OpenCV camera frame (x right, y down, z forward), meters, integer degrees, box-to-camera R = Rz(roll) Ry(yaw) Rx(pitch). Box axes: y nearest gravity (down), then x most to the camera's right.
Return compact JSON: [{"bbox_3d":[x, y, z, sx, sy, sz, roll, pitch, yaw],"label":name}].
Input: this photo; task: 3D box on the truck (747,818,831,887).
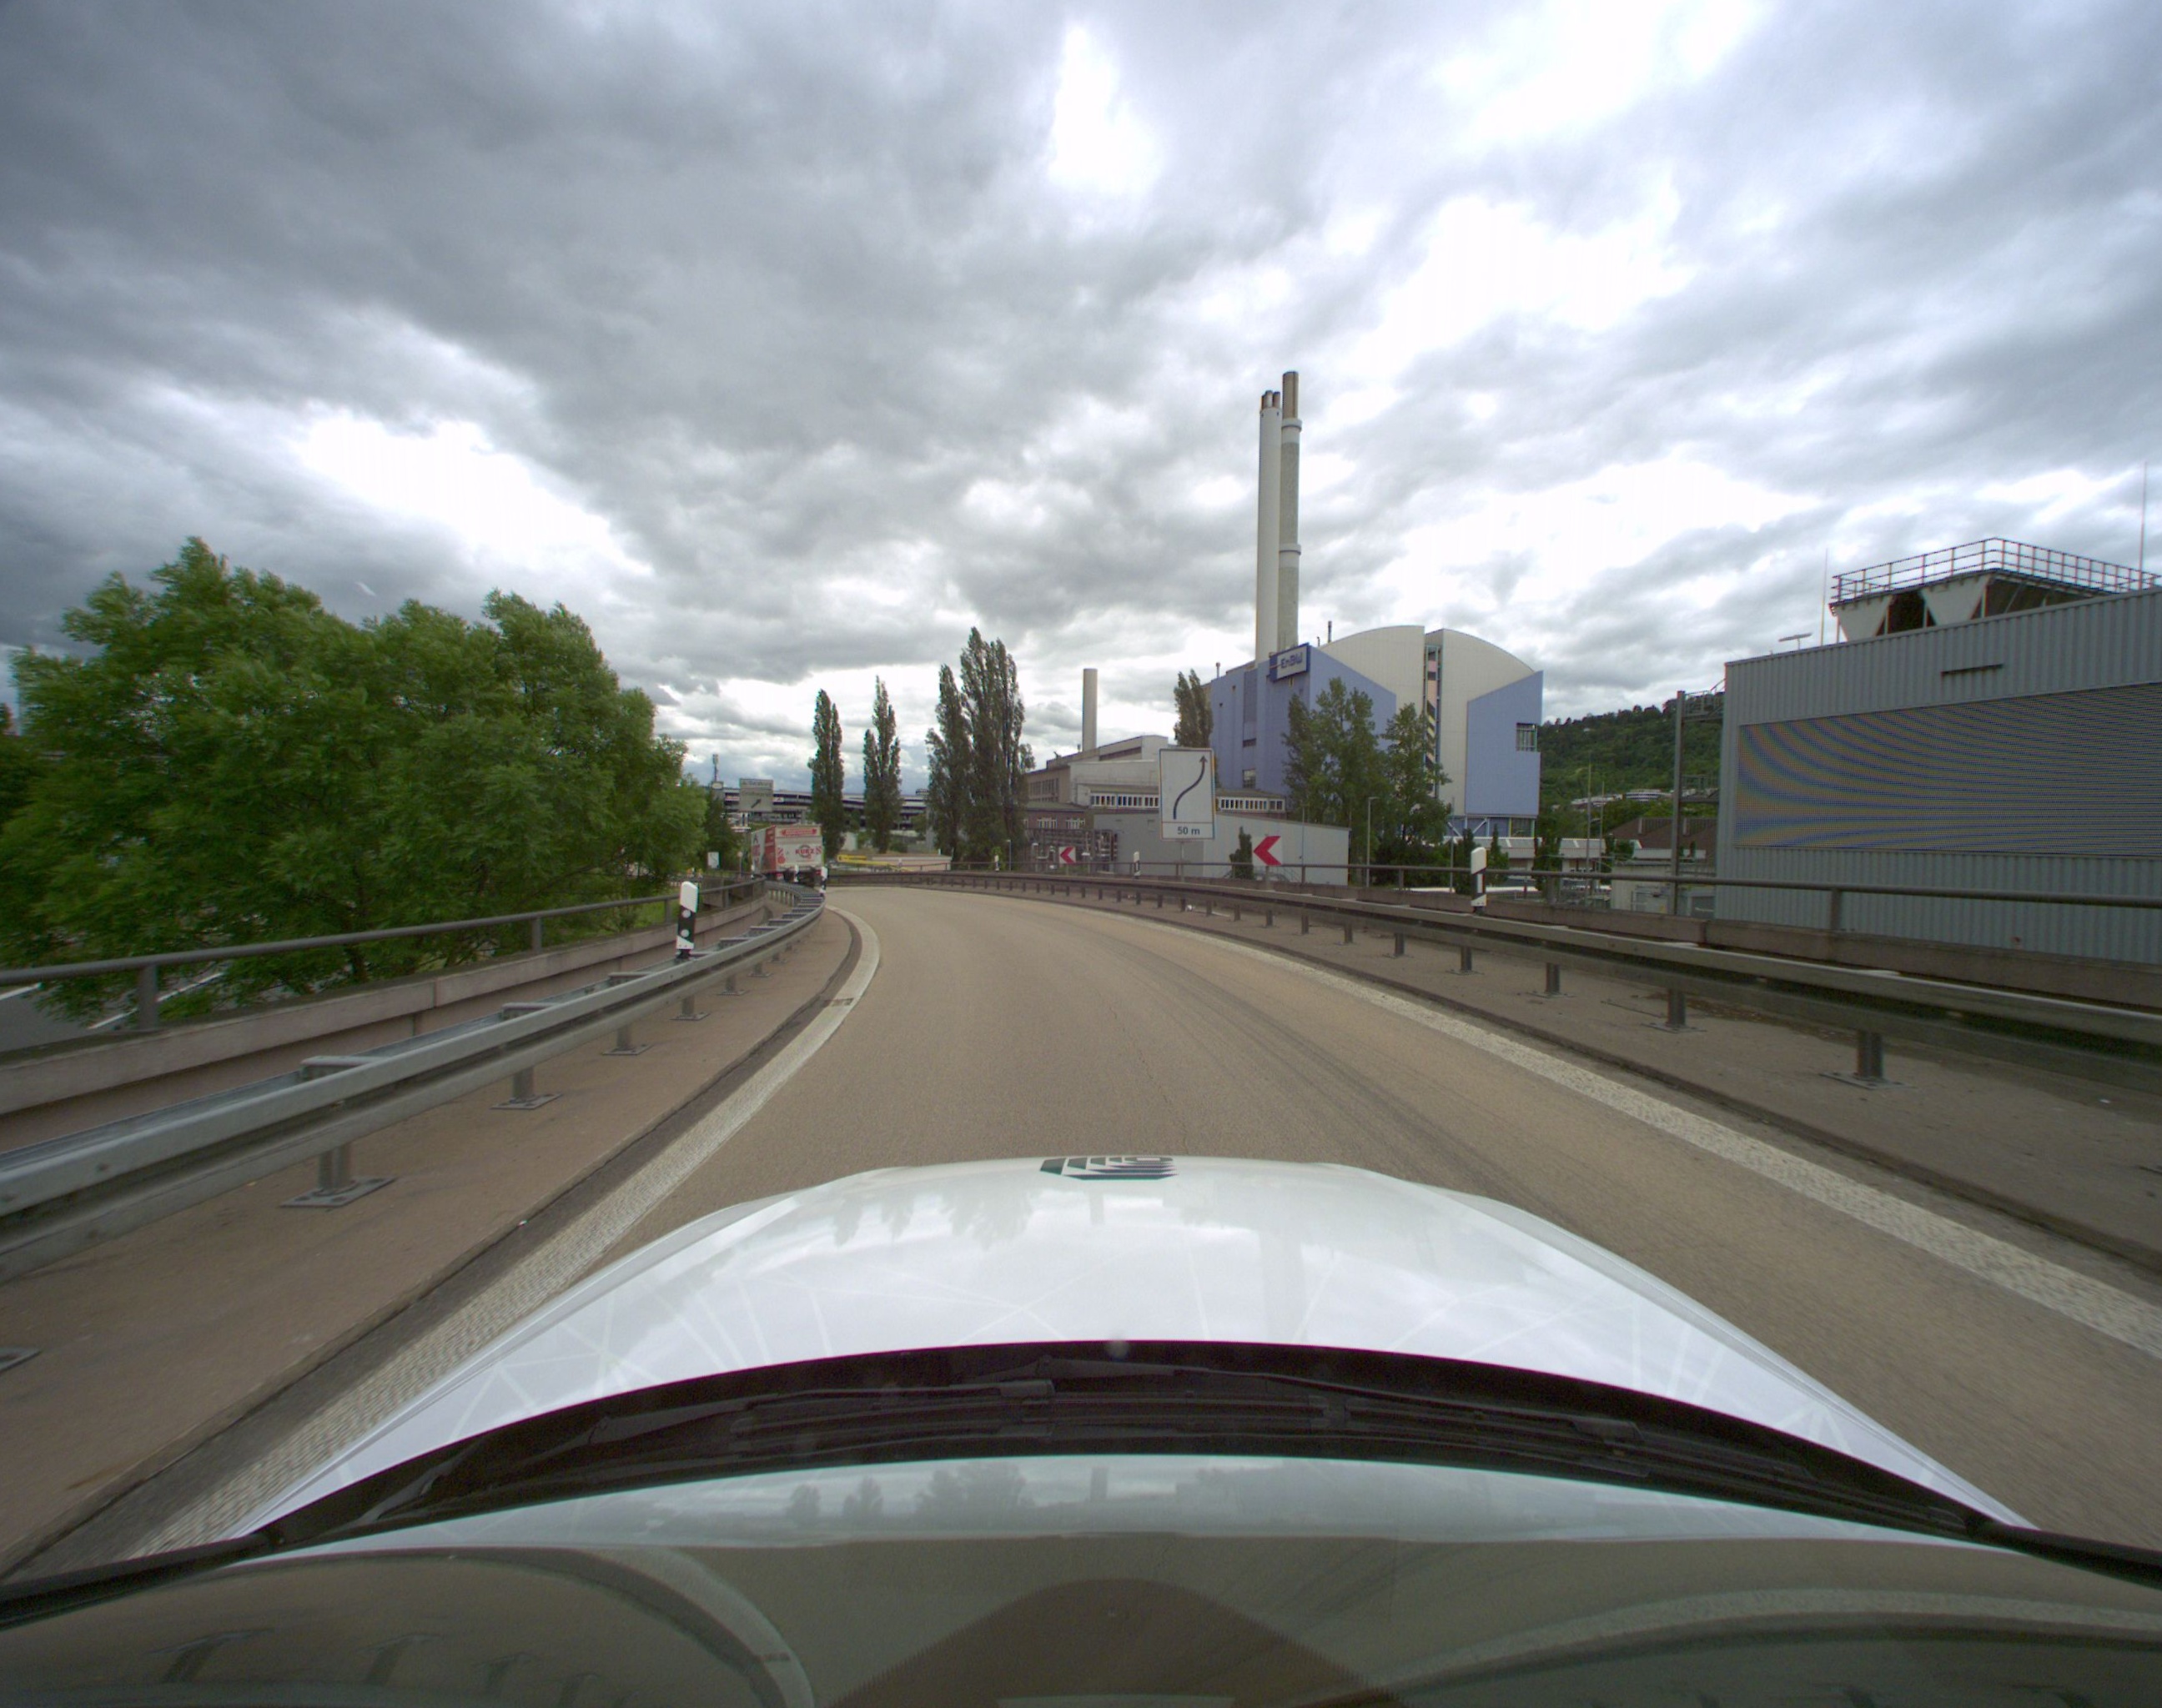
[{"bbox_3d":[-17.073,-0.117,47.230,3.071,3.673,7.849,0,1,-32],"label":"truck"}]
